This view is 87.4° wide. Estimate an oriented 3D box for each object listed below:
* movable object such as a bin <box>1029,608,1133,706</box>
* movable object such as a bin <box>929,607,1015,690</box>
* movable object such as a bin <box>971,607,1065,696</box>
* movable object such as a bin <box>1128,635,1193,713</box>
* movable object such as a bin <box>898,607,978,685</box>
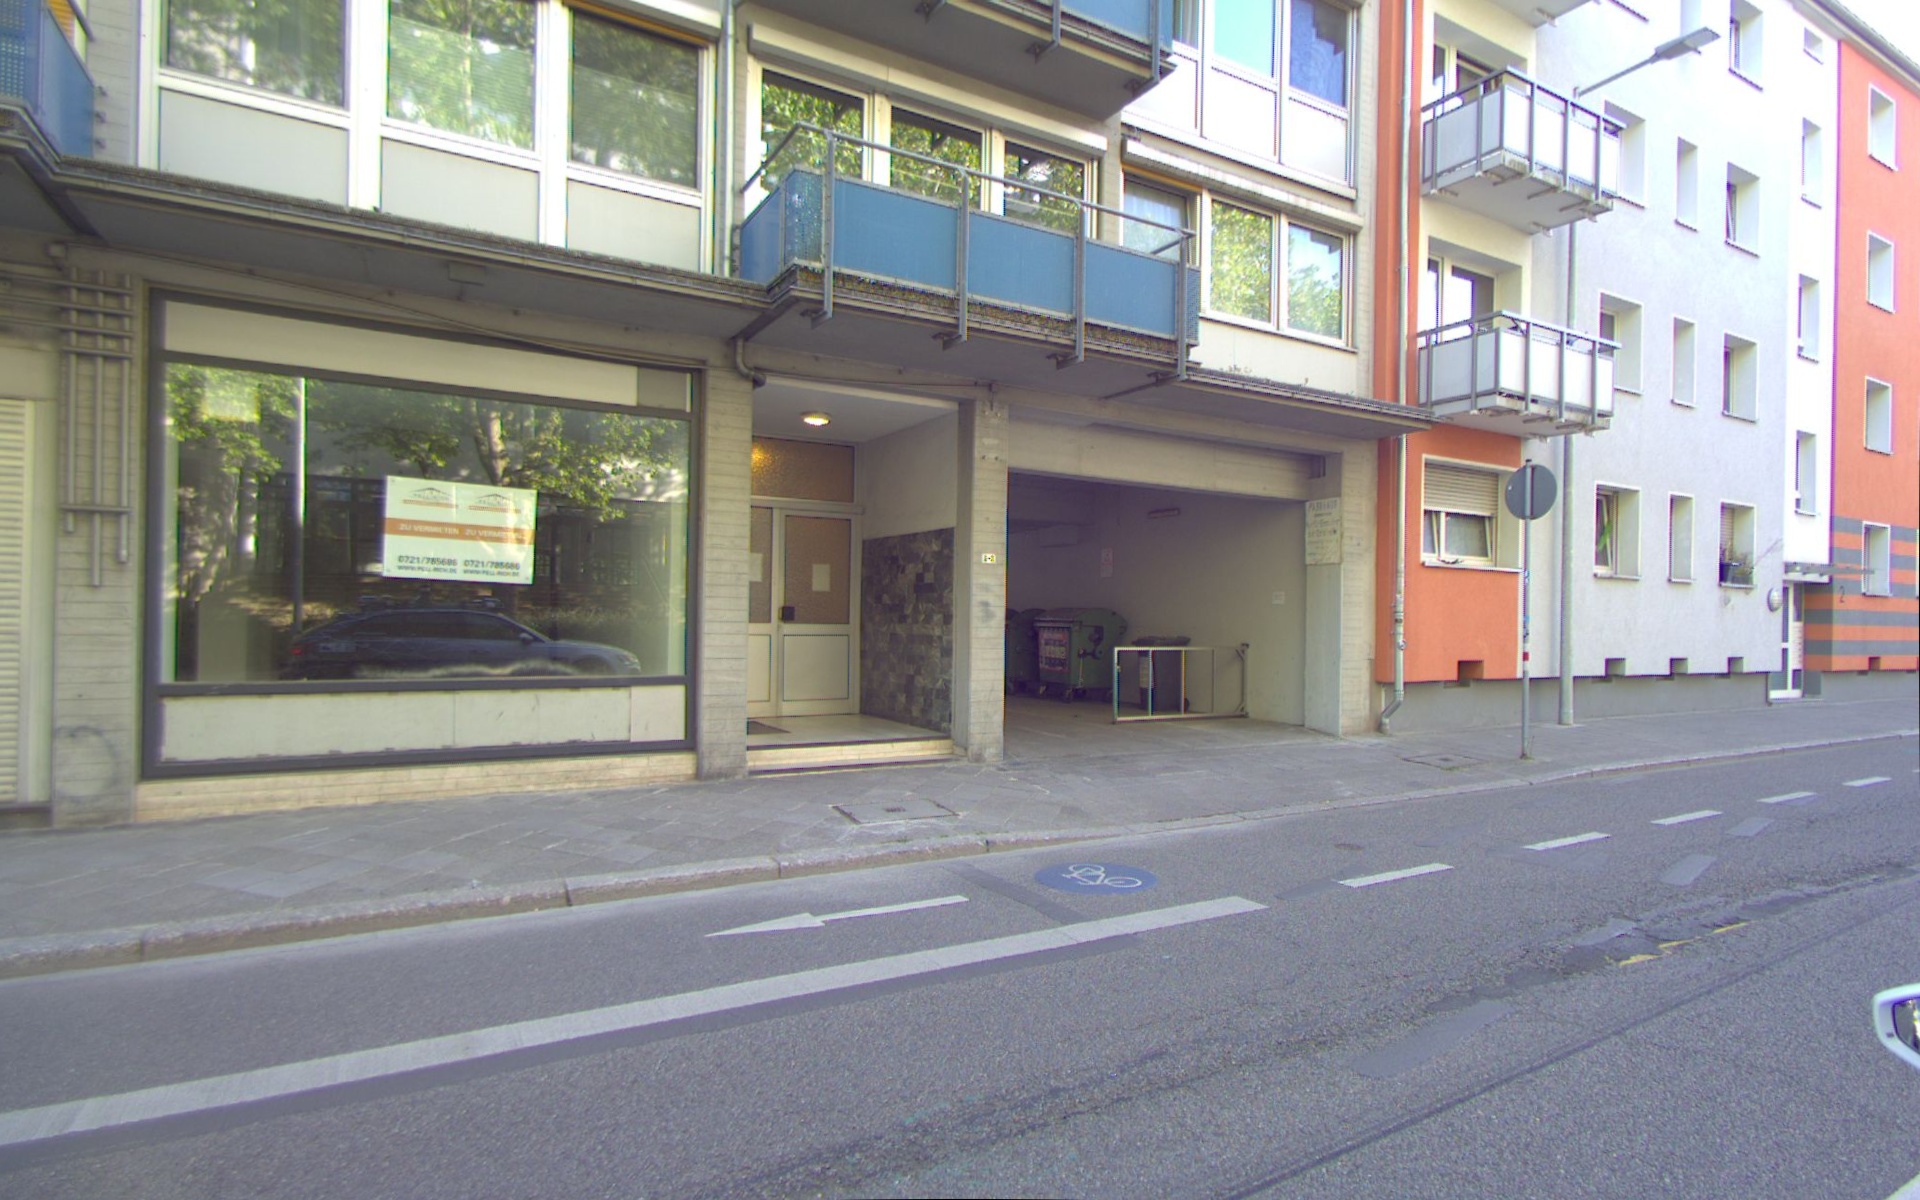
[{"bbox_3d":[1.894,0.866,15.813,1.116,1.444,1.201,1,0,-30],"label":"movable object such as a bin"},{"bbox_3d":[0.212,0.866,18.470,1.116,1.444,1.201,1,0,-30],"label":"movable object such as a bin"},{"bbox_3d":[0.983,0.860,17.172,1.116,1.444,1.201,1,0,-30],"label":"movable object such as a bin"},{"bbox_3d":[2.892,1.049,14.503,0.667,1.079,0.639,1,0,-30],"label":"movable object such as a bin"},{"bbox_3d":[-0.435,0.873,19.619,1.116,1.444,1.201,1,0,-30],"label":"movable object such as a bin"}]
